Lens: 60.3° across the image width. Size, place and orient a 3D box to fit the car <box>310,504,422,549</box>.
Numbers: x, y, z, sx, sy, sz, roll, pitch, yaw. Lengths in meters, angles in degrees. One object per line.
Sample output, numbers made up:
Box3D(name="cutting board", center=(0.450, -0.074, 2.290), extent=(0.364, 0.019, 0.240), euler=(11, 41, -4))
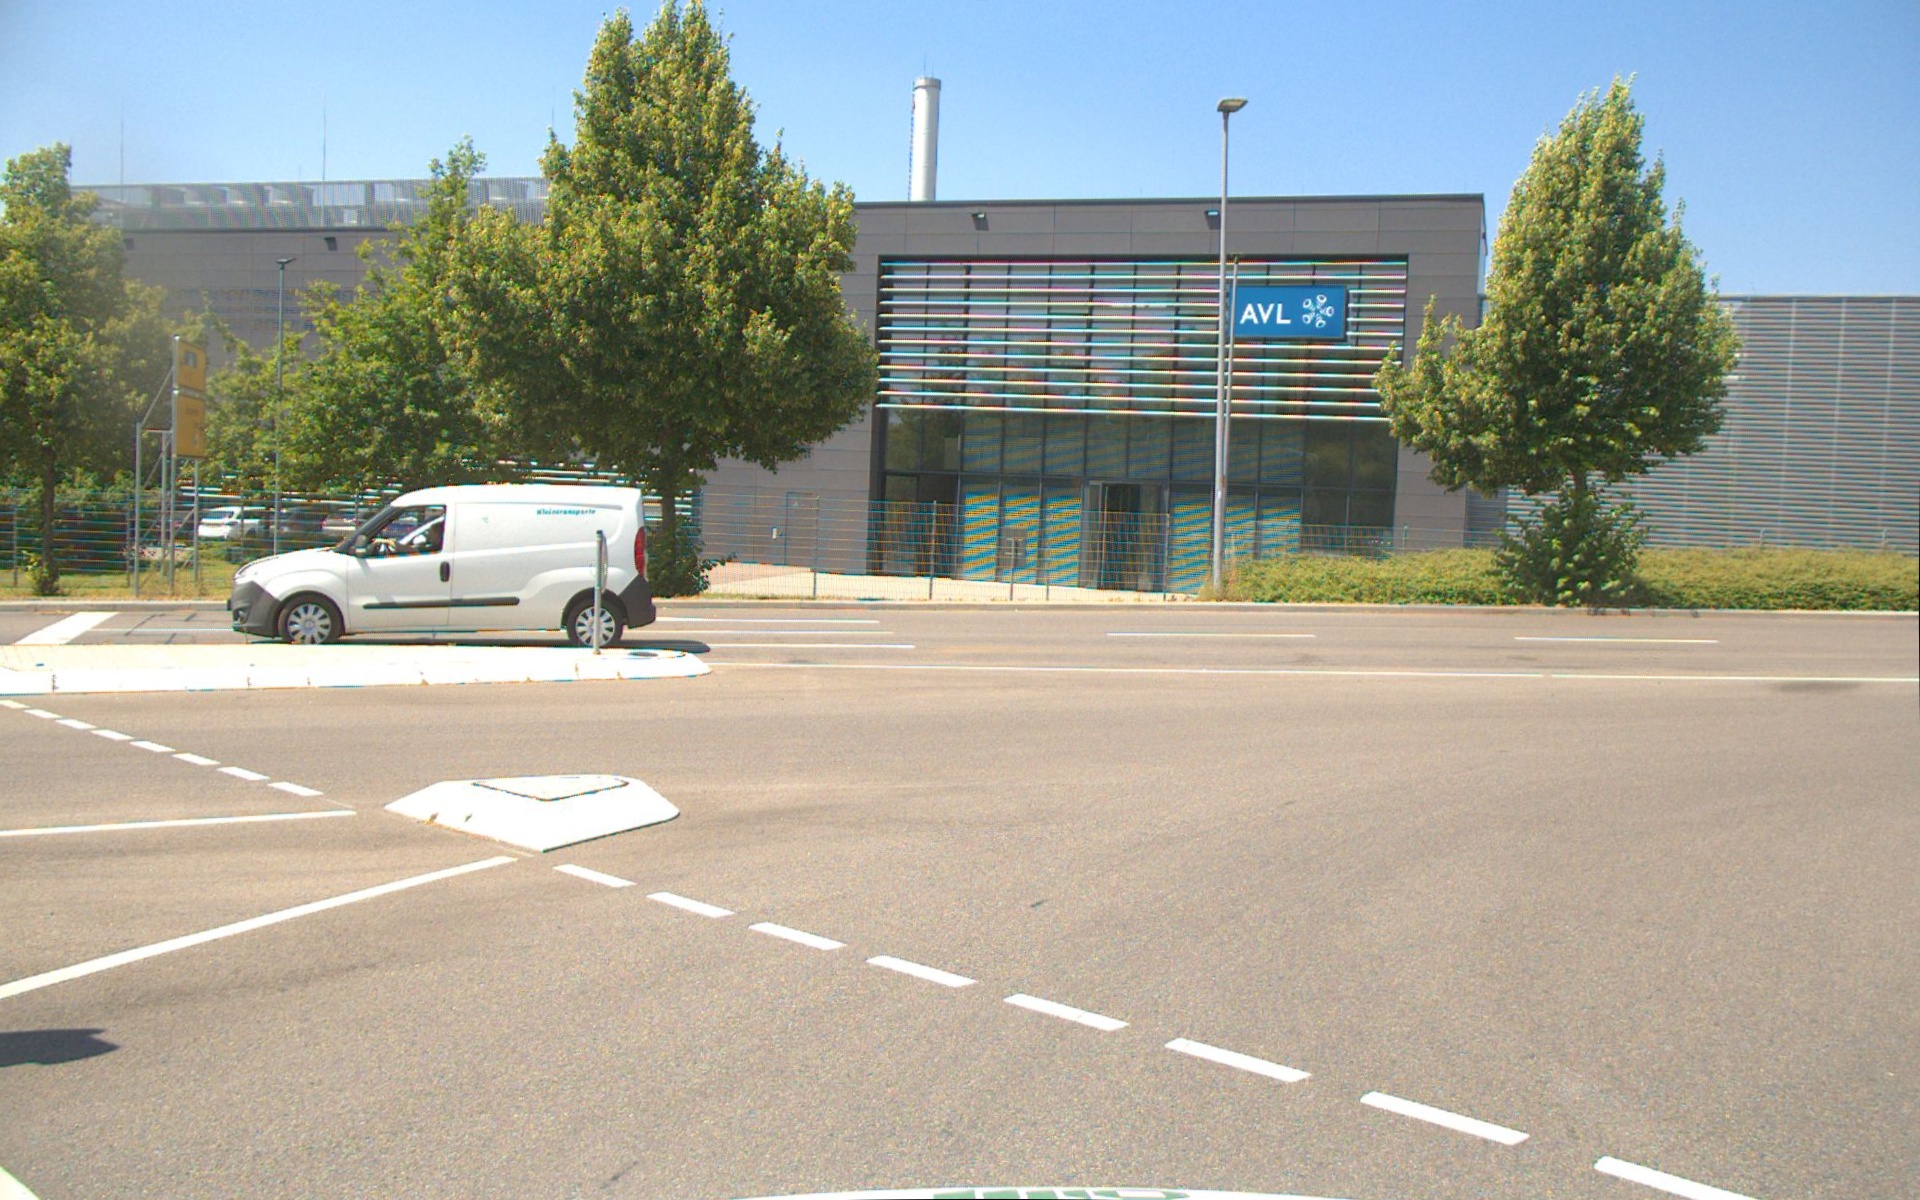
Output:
Box3D(name="car", center=(-21.458, -2.674, 59.915), extent=(1.873, 1.543, 4.004), euler=(0, 2, 14))

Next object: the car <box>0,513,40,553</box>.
Box3D(name="car", center=(-29.588, -2.010, 49.449), extent=(1.576, 1.185, 3.638), euler=(0, 2, 14))

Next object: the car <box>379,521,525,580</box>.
Box3D(name="car", center=(-13.685, -1.346, 44.794), extent=(1.951, 1.512, 4.004), euler=(0, 2, 14))

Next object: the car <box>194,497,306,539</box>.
Box3D(name="car", center=(-26.364, -3.031, 61.569), extent=(1.728, 1.485, 4.004), euler=(0, 2, 14))

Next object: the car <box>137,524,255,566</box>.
Box3D(name="car", center=(-28.777, -2.064, 62.450), extent=(1.951, 1.512, 4.004), euler=(0, 2, 14))

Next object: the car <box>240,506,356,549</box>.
Box3D(name="car", center=(-24.148, -2.627, 60.489), extent=(1.951, 1.512, 4.004), euler=(0, 2, 14))

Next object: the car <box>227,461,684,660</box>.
Box3D(name="car", center=(-5.711, -0.467, 19.117), extent=(4.775, 1.975, 1.994), euler=(1, 6, -15))

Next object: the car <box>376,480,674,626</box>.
Box3D(name="car", center=(-5.980, -0.672, 22.915), extent=(3.788, 1.735, 1.994), euler=(1, 6, -15))

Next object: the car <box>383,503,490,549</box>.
Box3D(name="car", center=(-18.621, -2.611, 58.993), extent=(1.775, 1.555, 4.004), euler=(0, 2, 14))

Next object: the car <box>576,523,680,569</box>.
Box3D(name="car", center=(-11.332, -1.858, 56.787), extent=(1.951, 1.512, 4.004), euler=(0, 2, 14))

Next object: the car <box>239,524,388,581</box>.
Box3D(name="car", center=(-18.260, -1.352, 46.939), extent=(1.951, 1.512, 4.004), euler=(0, 2, 14))
